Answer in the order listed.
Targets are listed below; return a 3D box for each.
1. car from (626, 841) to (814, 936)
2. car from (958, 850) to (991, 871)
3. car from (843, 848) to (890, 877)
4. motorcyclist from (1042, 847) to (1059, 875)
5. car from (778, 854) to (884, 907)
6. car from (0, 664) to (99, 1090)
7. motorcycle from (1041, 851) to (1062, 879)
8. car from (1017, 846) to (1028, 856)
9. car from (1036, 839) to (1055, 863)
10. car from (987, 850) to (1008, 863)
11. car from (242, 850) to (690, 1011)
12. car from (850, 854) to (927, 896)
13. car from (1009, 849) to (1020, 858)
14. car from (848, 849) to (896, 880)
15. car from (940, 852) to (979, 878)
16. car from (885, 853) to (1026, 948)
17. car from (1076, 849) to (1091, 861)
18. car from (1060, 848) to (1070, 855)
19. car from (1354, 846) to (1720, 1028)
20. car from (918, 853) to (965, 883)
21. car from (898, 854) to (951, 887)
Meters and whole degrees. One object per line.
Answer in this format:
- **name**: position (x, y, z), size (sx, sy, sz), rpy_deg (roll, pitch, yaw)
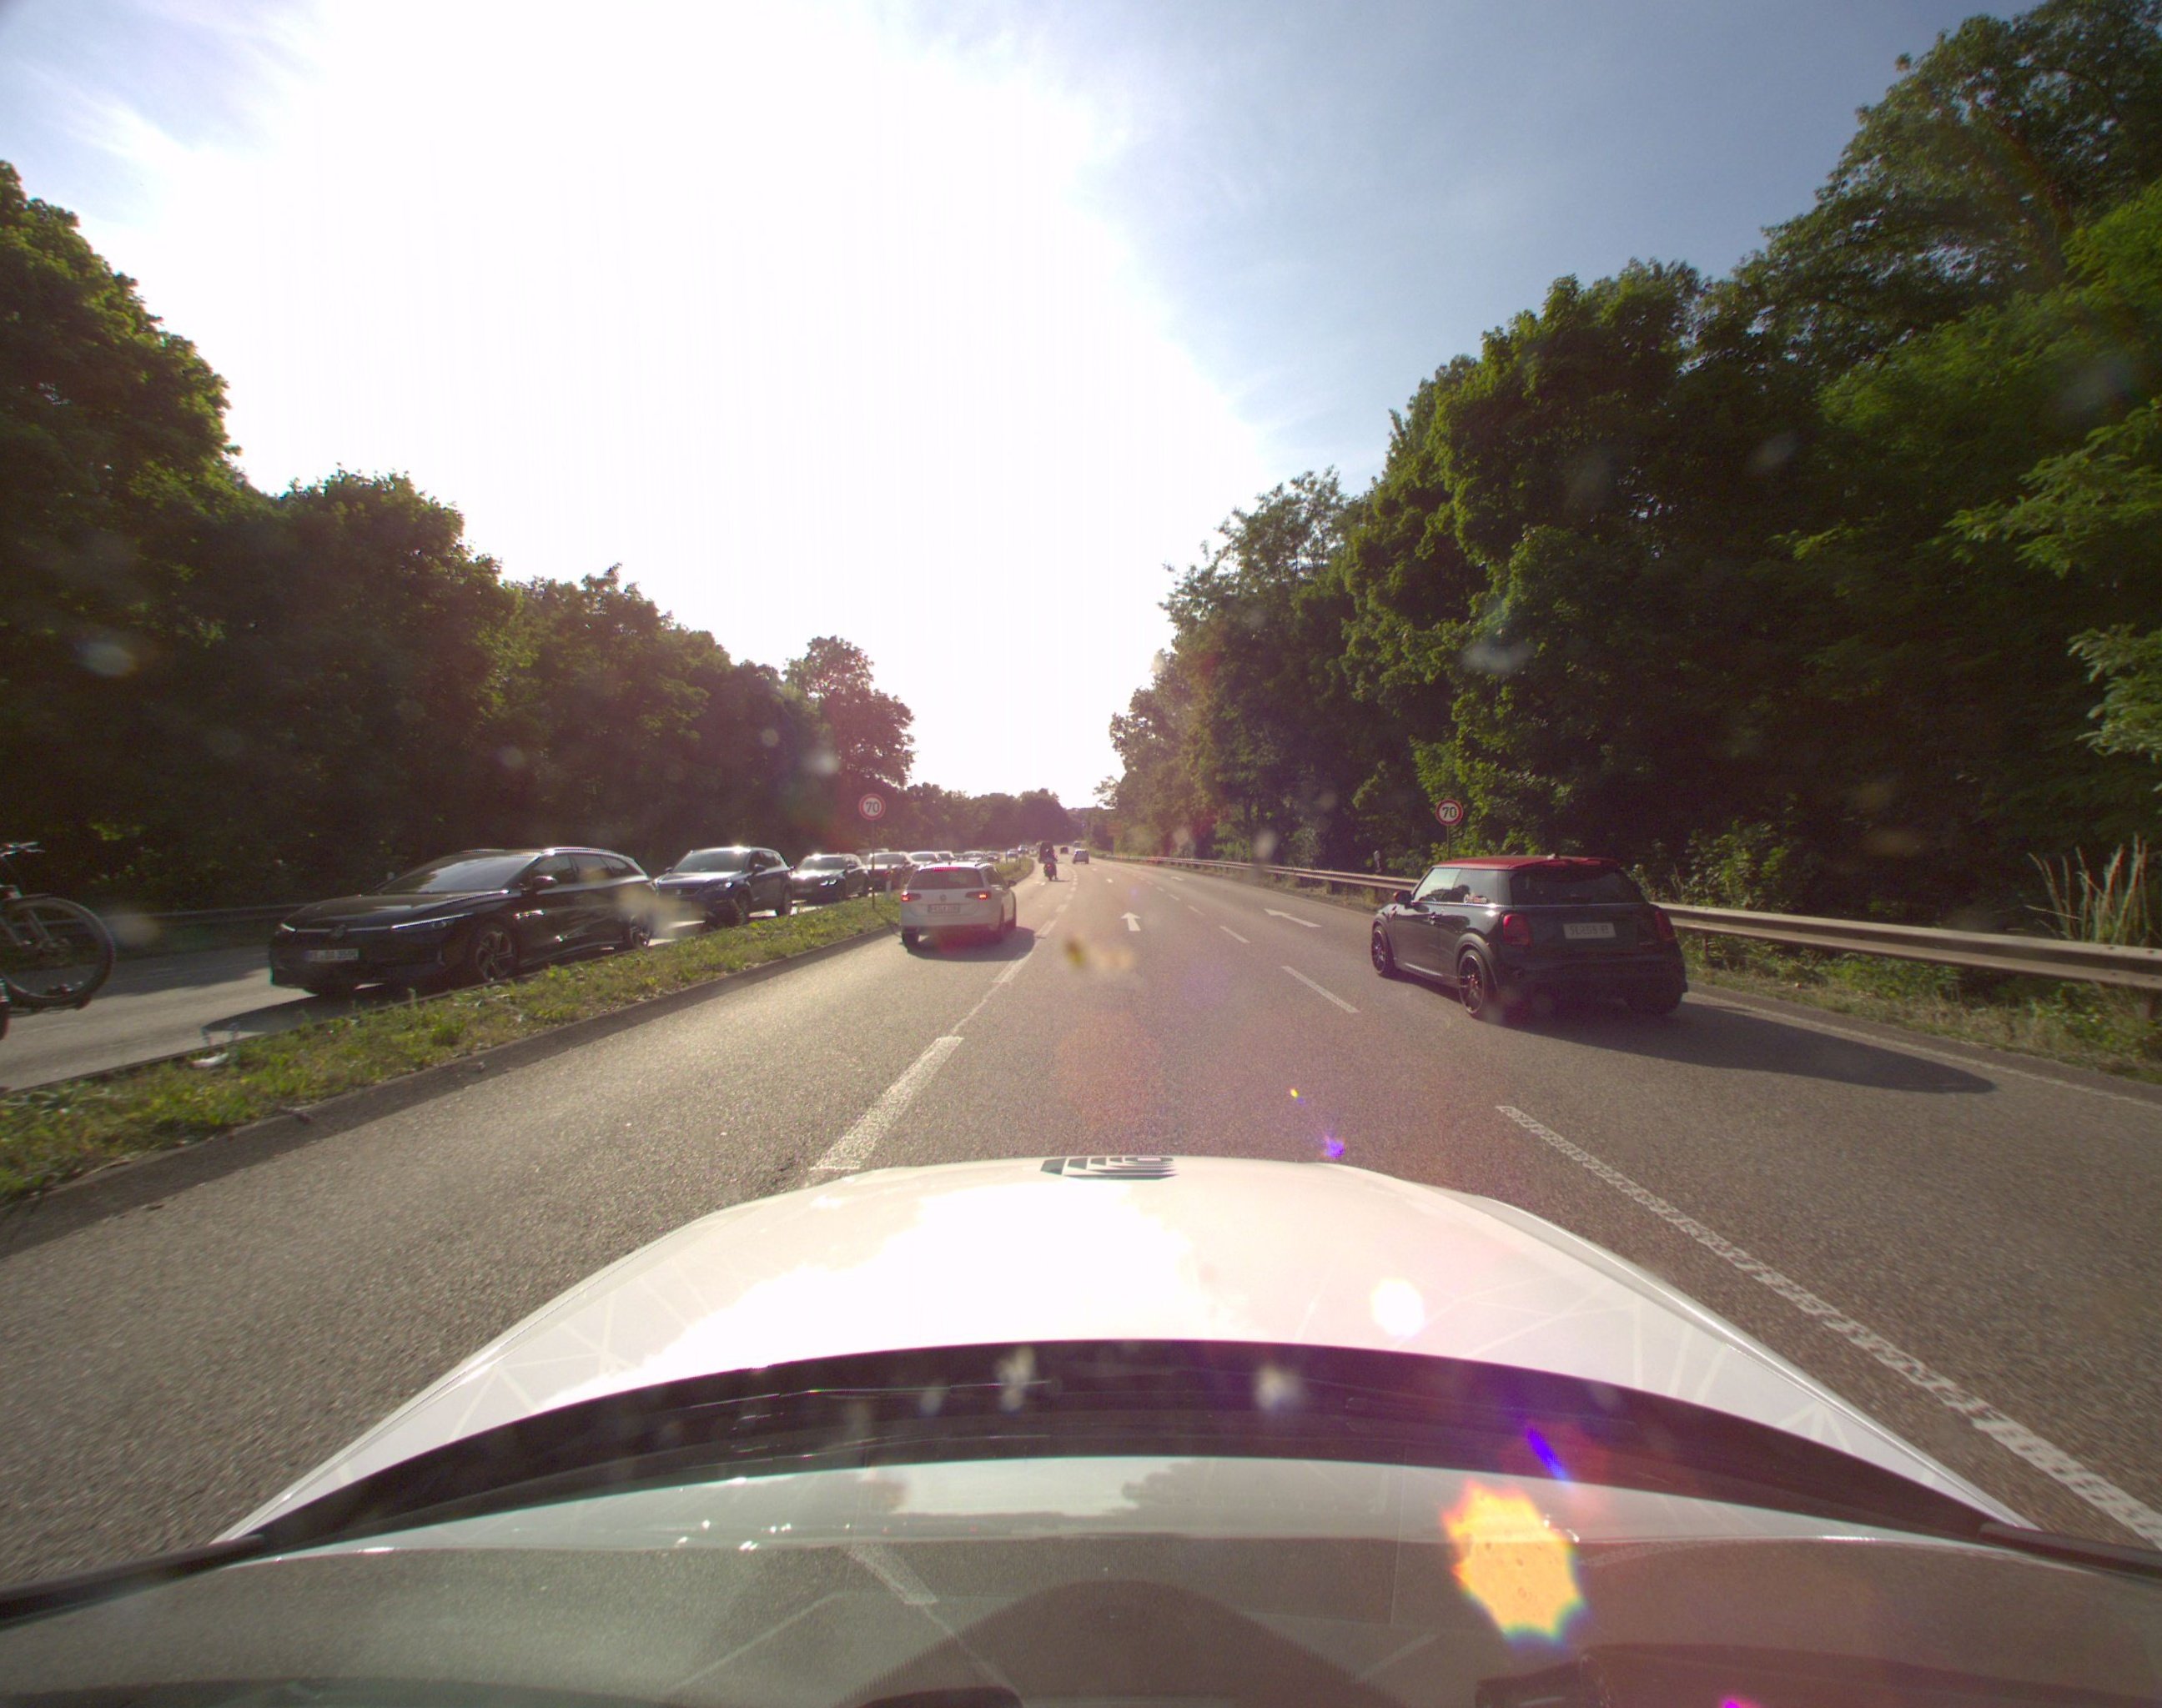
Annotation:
- **car**: position (-7.363, 0.595, 17.235), size (1.765, 1.669, 4.800), rpy_deg (-2, 1, 0)
- **car**: position (-7.790, 0.459, 59.981), size (1.862, 1.417, 4.415), rpy_deg (-2, 1, 0)
- **car**: position (-11.728, 0.450, 44.779), size (1.541, 1.384, 3.618), rpy_deg (-4, 1, 0)
- **motorcyclist**: position (-1.753, 0.383, 46.961), size (0.880, 1.616, 1.291), rpy_deg (0, 0, 2)
- **car**: position (-7.586, 0.744, 25.247), size (1.765, 1.379, 4.843), rpy_deg (-2, 1, 0)
- **car**: position (-7.451, 0.198, 2.177), size (2.068, 2.533, 6.163), rpy_deg (-2, 1, 0)
- **motorcycle**: position (-1.681, 0.624, 46.928), size (0.905, 1.453, 2.690), rpy_deg (-4, 1, 2)
- **car**: position (-11.760, -0.637, 163.820), size (2.071, 1.763, 4.751), rpy_deg (-3, 1, -3)
- **car**: position (-4.640, -0.432, 108.198), size (2.203, 2.888, 7.010), rpy_deg (-2, 1, 0)
- **car**: position (-11.318, 0.324, 110.826), size (2.096, 1.708, 6.224), rpy_deg (-2, 1, 0)
- **car**: position (-7.161, 0.720, 10.439), size (1.754, 1.456, 5.185), rpy_deg (-2, 1, 0)
- **car**: position (-7.524, 0.773, 32.329), size (1.765, 1.423, 5.192), rpy_deg (-2, 1, 0)
- **car**: position (-11.574, -0.109, 141.615), size (1.784, 1.411, 4.222), rpy_deg (0, 1, -3)
- **car**: position (-14.869, 0.690, 58.323), size (2.005, 1.935, 5.101), rpy_deg (-4, 1, 0)
- **car**: position (-7.644, 0.658, 51.443), size (1.761, 1.417, 4.433), rpy_deg (-2, 1, 0)
- **car**: position (-2.262, 0.766, 16.010), size (1.863, 1.521, 4.836), rpy_deg (0, 1, 2)
- **car**: position (0.275, 0.103, 97.179), size (1.755, 1.380, 3.972), rpy_deg (0, 1, 1)
- **car**: position (-3.290, -0.500, 168.042), size (1.741, 1.537, 3.920), rpy_deg (0, 1, -4)
- **car**: position (4.360, 0.651, 8.574), size (1.812, 1.467, 3.875), rpy_deg (0, 1, 2)
- **car**: position (-7.652, 0.730, 45.191), size (1.762, 1.423, 5.191), rpy_deg (-2, 1, -1)
- **car**: position (-7.515, 0.754, 39.529), size (1.701, 1.423, 4.211), rpy_deg (-2, 1, 0)
